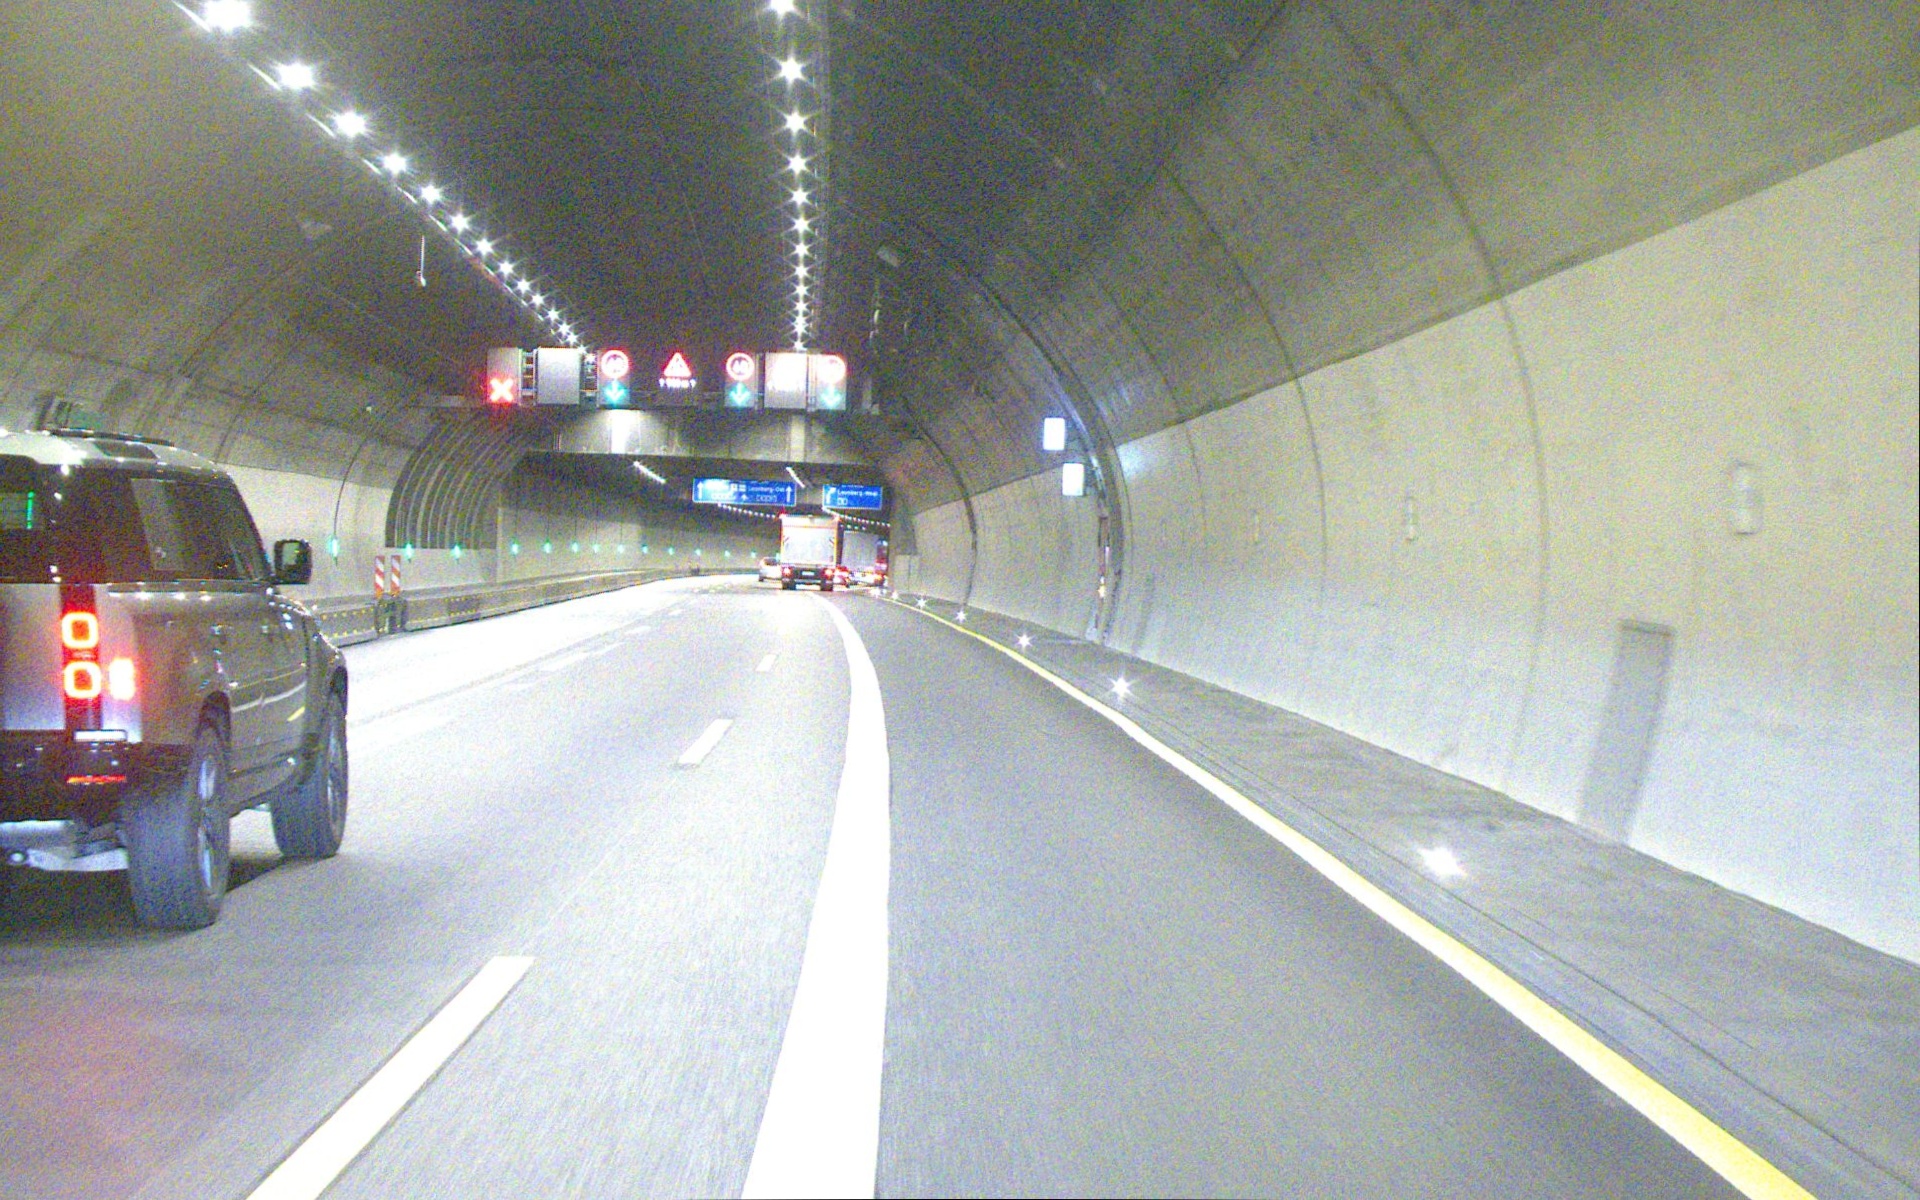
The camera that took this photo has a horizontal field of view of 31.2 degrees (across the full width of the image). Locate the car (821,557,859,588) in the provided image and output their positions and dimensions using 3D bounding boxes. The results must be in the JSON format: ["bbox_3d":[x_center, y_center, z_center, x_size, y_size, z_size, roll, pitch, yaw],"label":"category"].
[{"bbox_3d":[-7.744,-1.779,221.496,1.994,1.888,5.532,2,1,2],"label":"car"}]

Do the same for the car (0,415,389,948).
[{"bbox_3d":[-3.871,0.242,14.901,1.993,1.888,5.454,0,1,-1],"label":"car"}]

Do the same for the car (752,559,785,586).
[{"bbox_3d":[-12.167,-1.751,218.572,1.993,1.576,4.001,2,1,-4],"label":"car"}]

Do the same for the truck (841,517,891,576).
[{"bbox_3d":[-7.173,-4.030,259.850,3.473,4.301,10.953,1,1,-3],"label":"truck"}]

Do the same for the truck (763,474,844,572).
[{"bbox_3d":[-7.351,-3.628,161.239,3.474,4.301,10.953,2,1,-3],"label":"truck"}]
